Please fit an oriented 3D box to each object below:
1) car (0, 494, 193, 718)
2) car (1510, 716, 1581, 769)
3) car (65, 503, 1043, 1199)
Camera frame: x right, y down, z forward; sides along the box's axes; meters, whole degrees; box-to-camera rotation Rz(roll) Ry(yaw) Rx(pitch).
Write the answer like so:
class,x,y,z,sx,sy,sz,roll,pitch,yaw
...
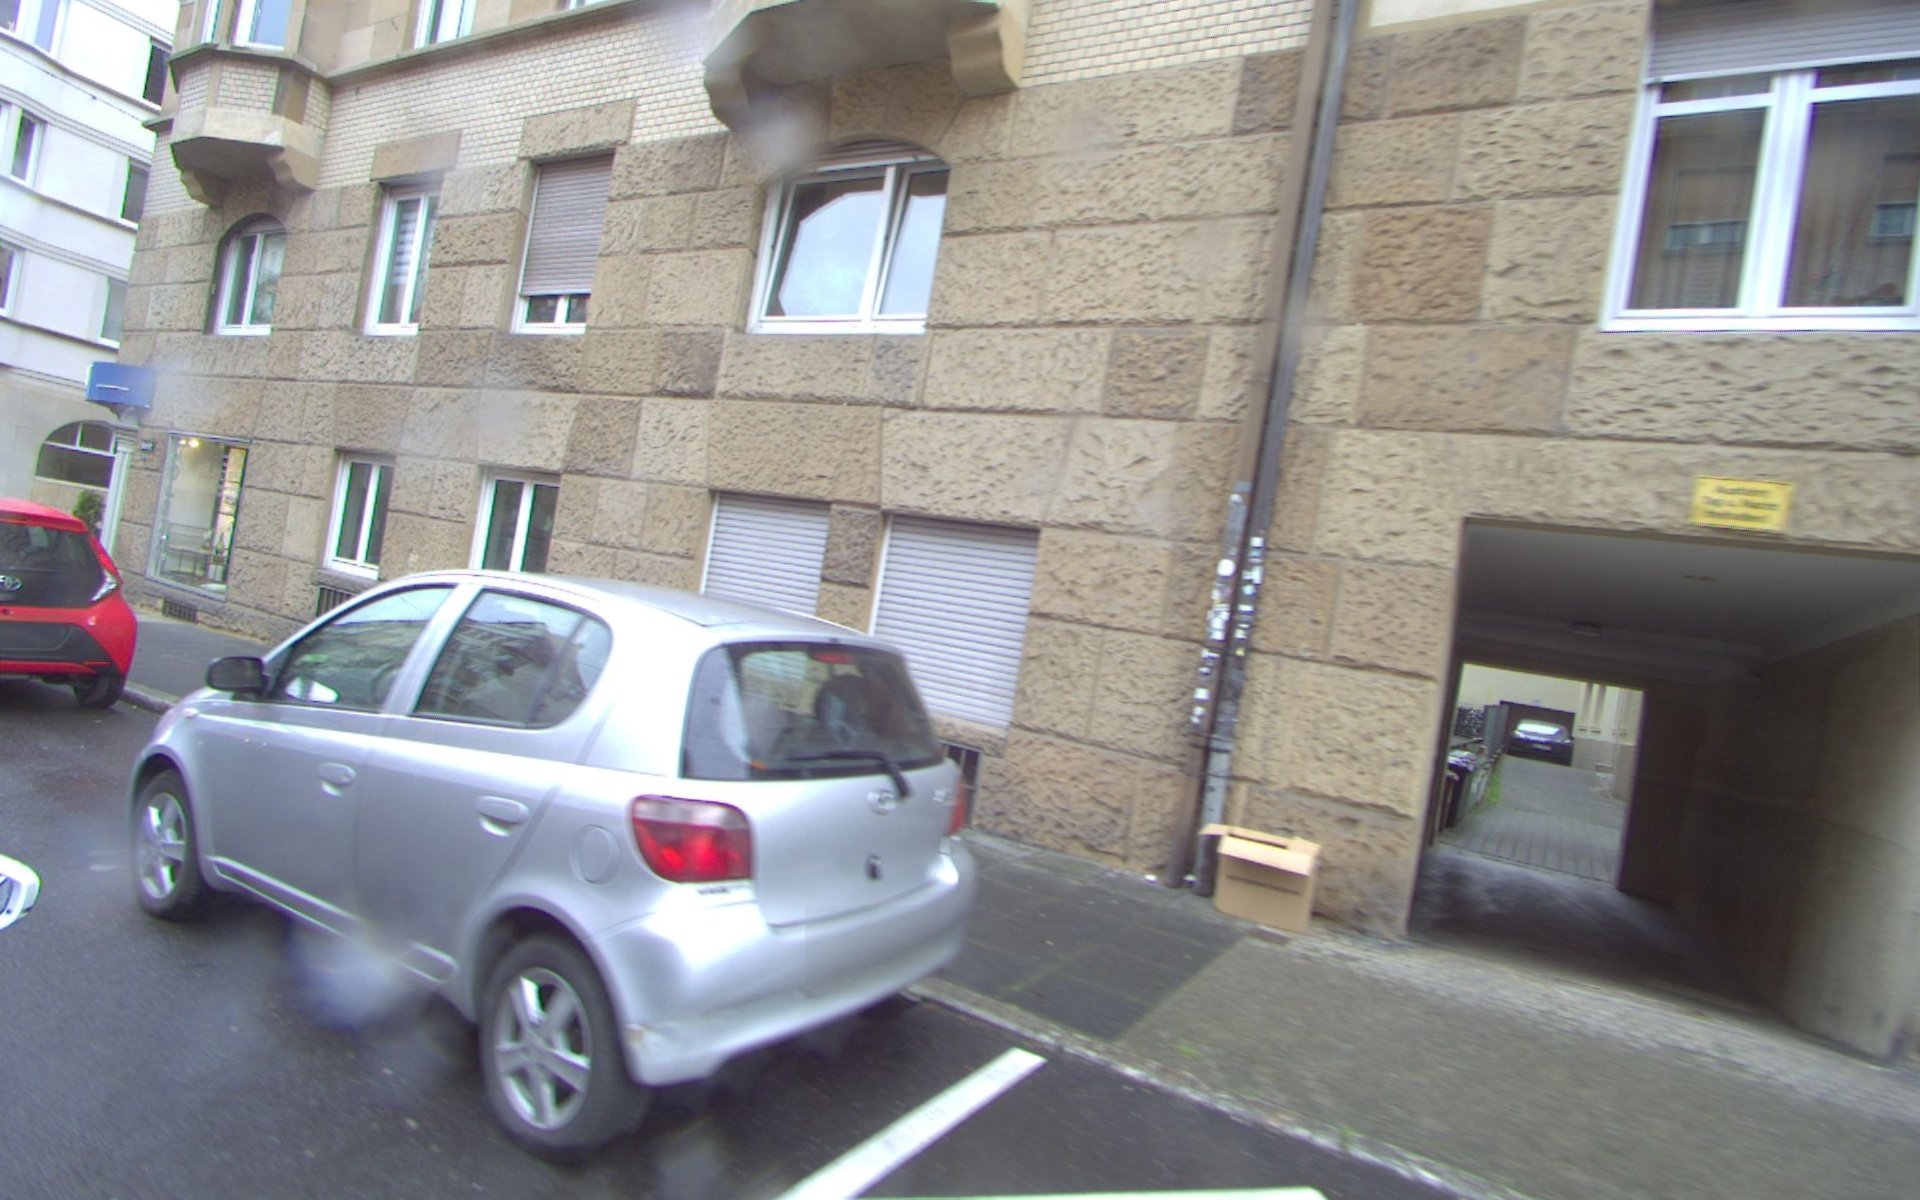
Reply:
class,x,y,z,sx,sy,sz,roll,pitch,yaw
car,-7.766,-0.120,7.645,3.472,1.469,1.711,7,-3,29
car,19.302,4.647,33.298,1.764,1.362,4.014,6,-2,28
car,-1.664,0.600,3.837,3.464,1.504,1.597,7,-1,32
